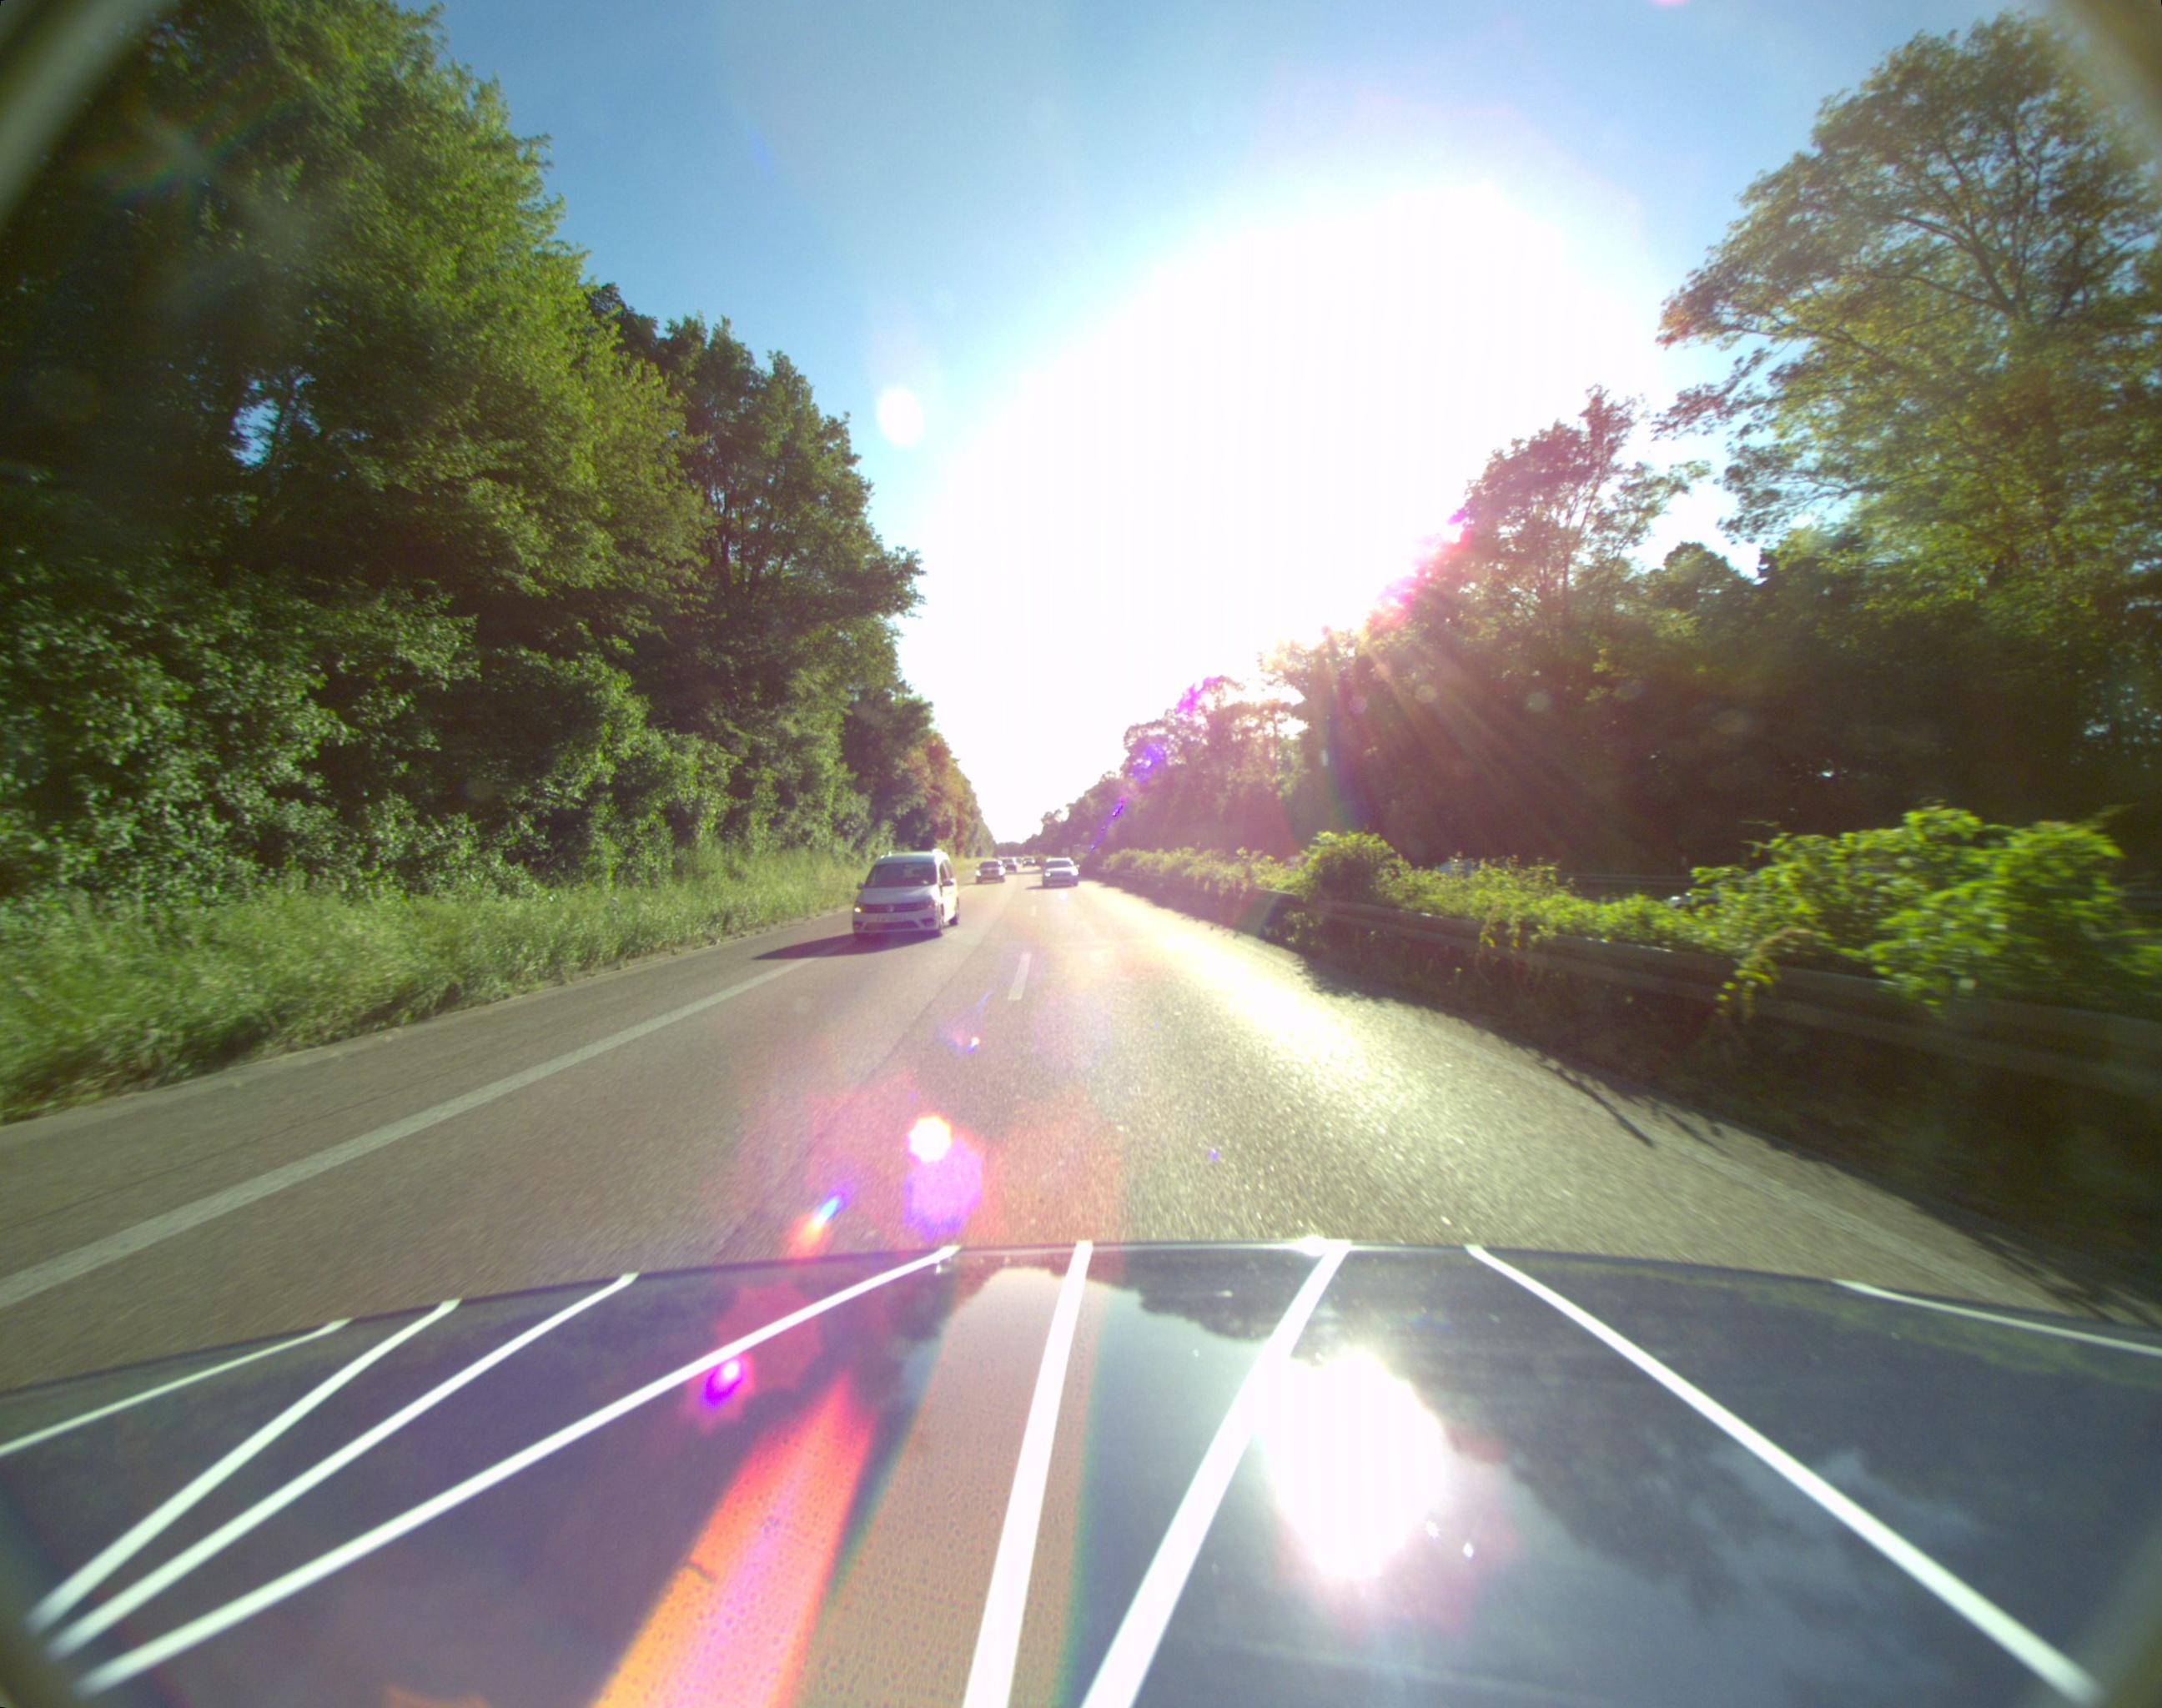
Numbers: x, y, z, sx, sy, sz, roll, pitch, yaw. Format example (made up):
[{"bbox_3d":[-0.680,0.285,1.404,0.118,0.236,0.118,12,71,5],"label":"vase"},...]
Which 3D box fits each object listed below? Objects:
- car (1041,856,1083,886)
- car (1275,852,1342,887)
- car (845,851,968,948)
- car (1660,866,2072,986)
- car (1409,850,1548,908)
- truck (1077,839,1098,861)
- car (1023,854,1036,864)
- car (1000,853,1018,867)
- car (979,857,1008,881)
[{"bbox_3d":[-1.057,0.858,40.505,1.891,1.440,3.876,-2,0,-6],"label":"car"},{"bbox_3d":[11.459,0.731,38.645,1.902,1.616,4.621,-2,1,-1],"label":"car"},{"bbox_3d":[-3.737,0.869,17.084,1.804,1.802,4.586,-2,1,-2],"label":"car"},{"bbox_3d":[12.293,1.000,12.510,1.766,1.415,4.778,-2,1,-1],"label":"car"},{"bbox_3d":[12.783,0.734,24.816,1.902,1.617,4.502,-2,1,-4],"label":"car"},{"bbox_3d":[1.150,-0.888,151.167,2.716,4.073,14.013,-2,1,-5],"label":"truck"},{"bbox_3d":[-8.108,0.767,119.220,1.915,1.561,4.322,-2,1,-6],"label":"car"},{"bbox_3d":[-7.886,0.694,83.281,1.795,1.440,3.875,-2,0,-7],"label":"car"},{"bbox_3d":[-5.767,0.978,50.172,1.795,1.440,3.875,-2,0,-7],"label":"car"}]
